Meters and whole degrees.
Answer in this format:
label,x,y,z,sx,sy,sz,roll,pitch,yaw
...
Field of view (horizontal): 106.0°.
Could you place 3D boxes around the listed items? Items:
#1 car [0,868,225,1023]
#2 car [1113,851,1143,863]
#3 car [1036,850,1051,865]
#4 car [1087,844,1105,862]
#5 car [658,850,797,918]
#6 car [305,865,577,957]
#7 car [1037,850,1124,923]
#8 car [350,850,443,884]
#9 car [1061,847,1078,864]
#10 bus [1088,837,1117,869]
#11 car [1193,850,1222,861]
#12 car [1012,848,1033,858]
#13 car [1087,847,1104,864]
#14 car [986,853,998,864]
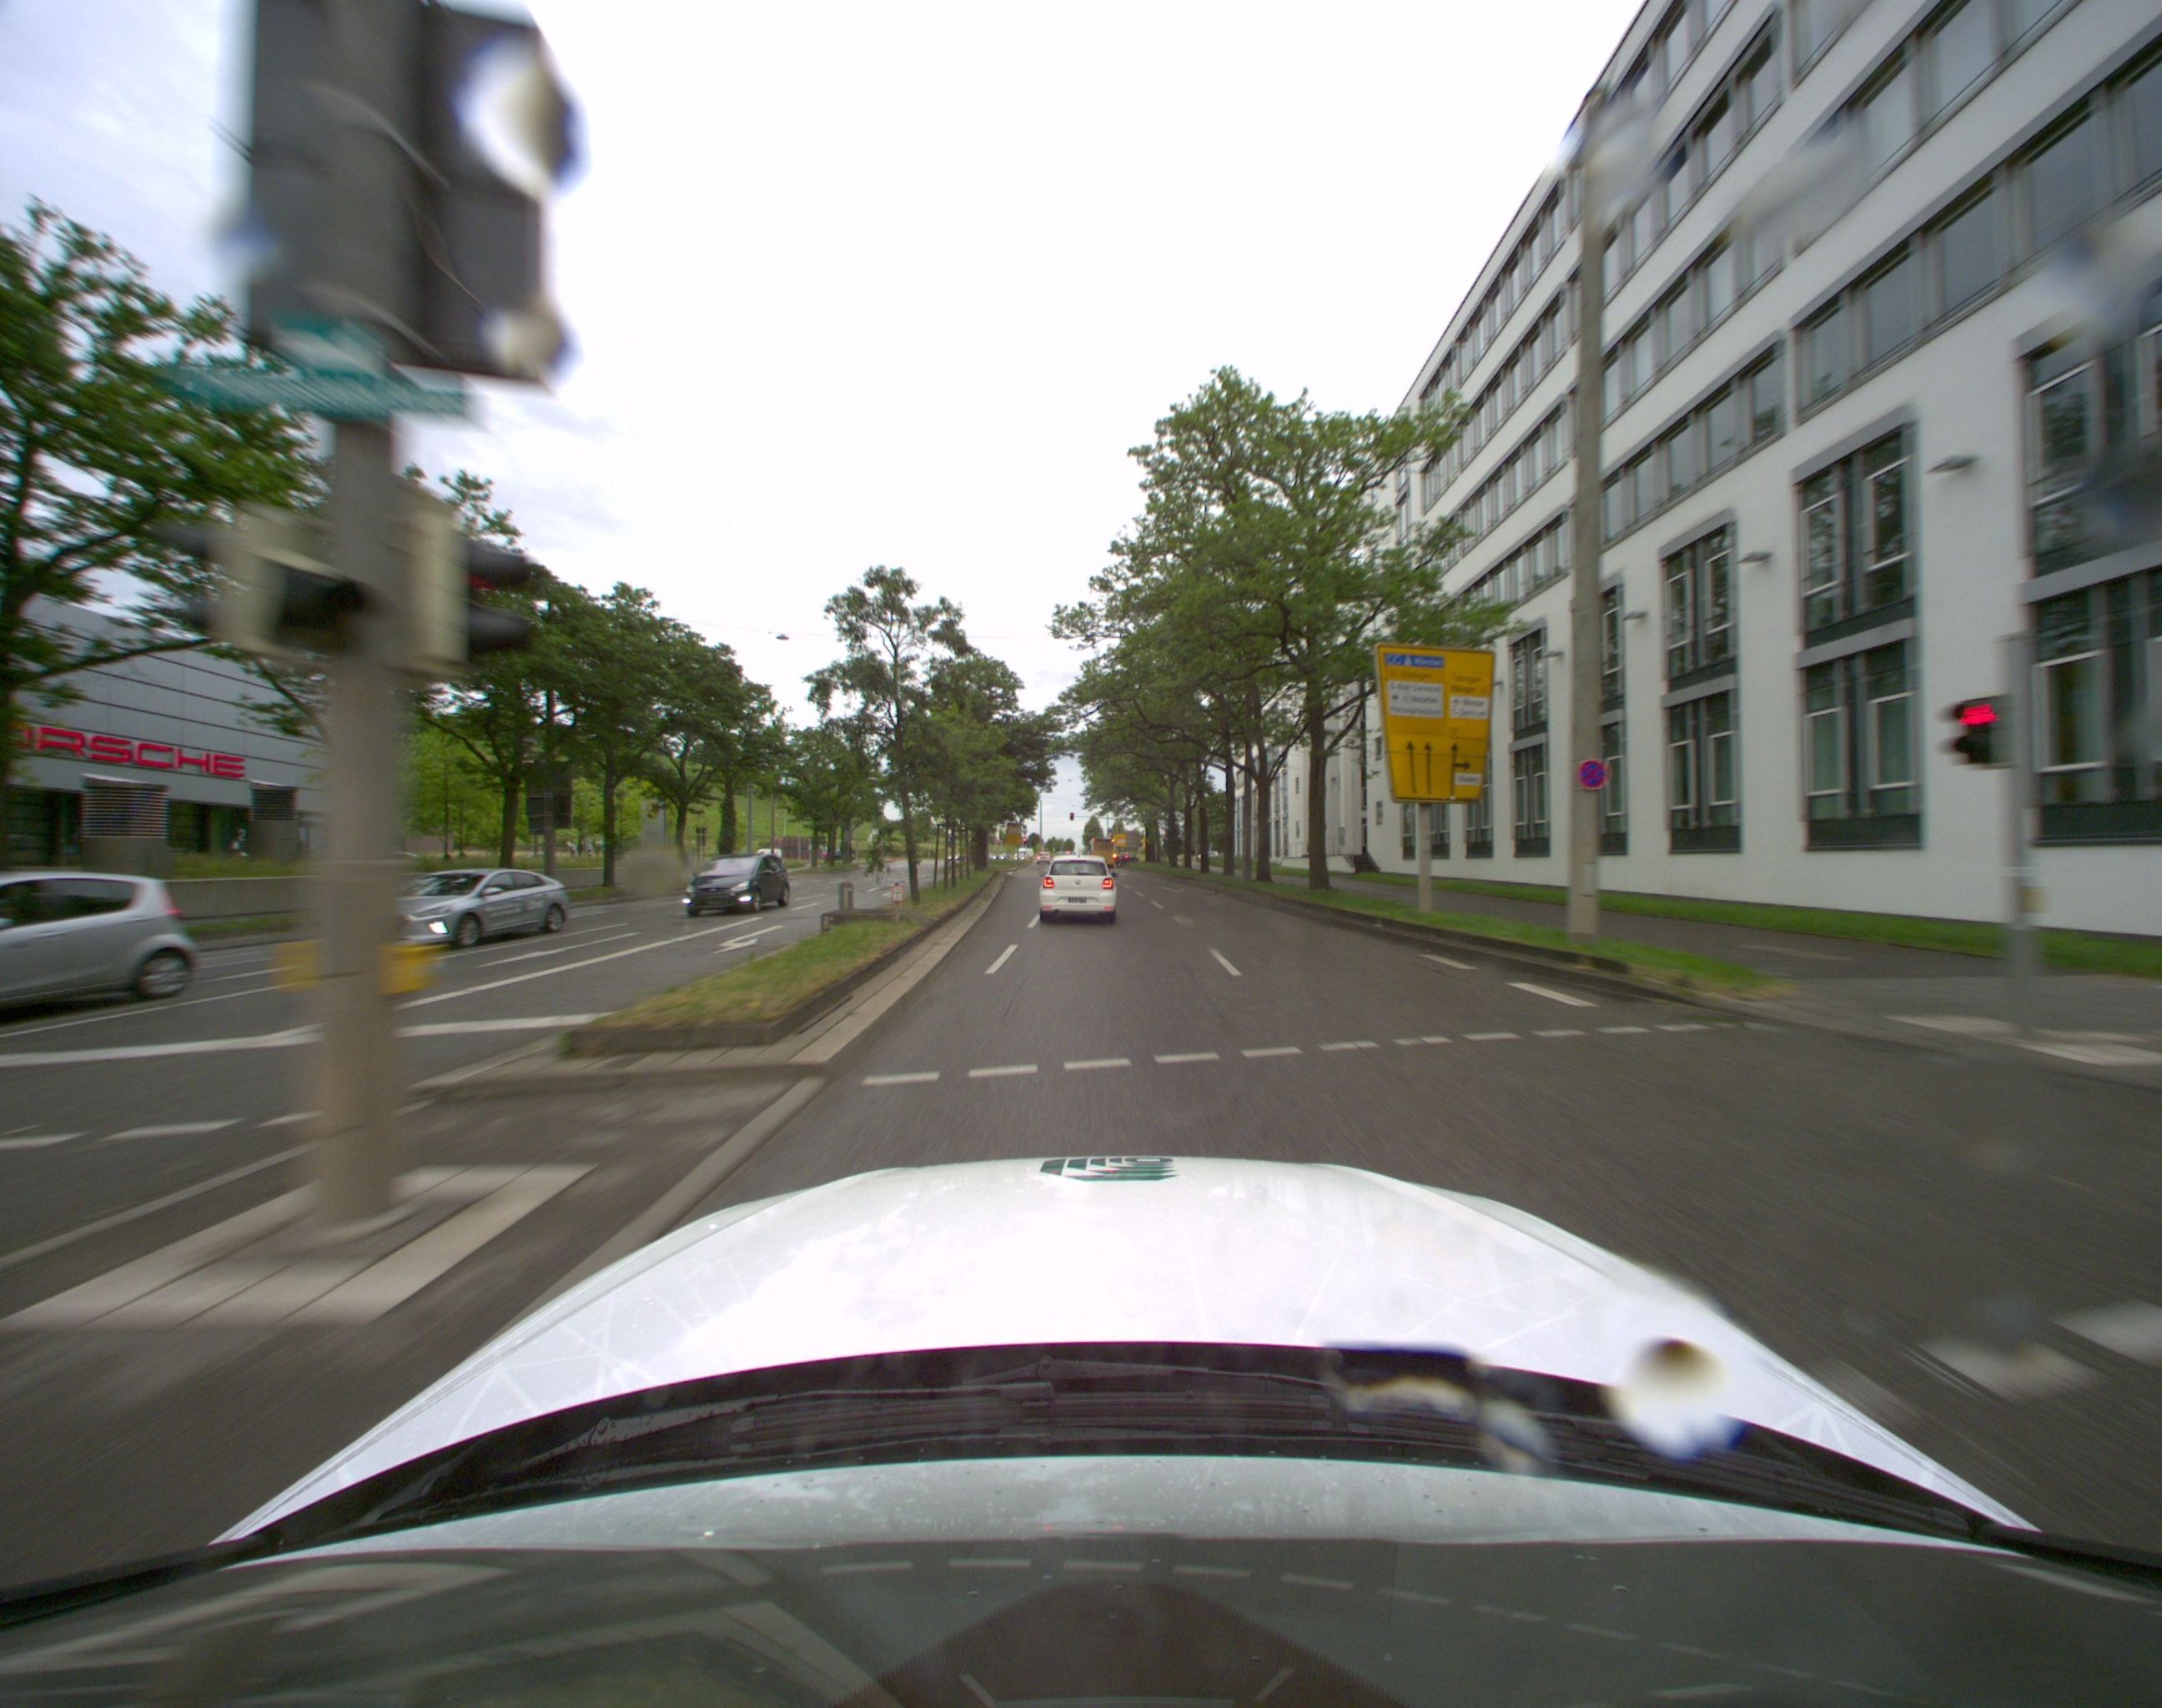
label,x,y,z,sx,sy,sz,roll,pitch,yaw
car,-11.761,0.960,8.484,1.746,1.520,3.812,-2,0,-4
car,5.811,0.365,100.396,1.679,1.515,3.850,-2,-1,44
car,-4.680,0.437,102.459,1.789,1.741,3.997,-1,-1,-2
car,1.732,-0.127,96.220,1.988,2.014,3.998,-1,-1,-1
car,-9.821,0.747,23.142,1.990,1.616,5.112,-2,0,-4
car,-12.169,0.977,15.991,1.810,1.411,4.649,-2,0,-3
car,-0.091,0.663,18.947,1.790,1.502,3.996,1,0,-3
car,-42.906,0.791,51.146,4.001,2.013,1.986,-1,0,-21
car,-1.433,0.230,100.900,1.988,2.014,3.998,-1,-1,-1
bus,2.241,-0.146,88.281,2.820,3.267,9.996,0,0,-1
car,19.054,0.232,122.483,3.954,1.536,2.010,-1,0,20
car,-12.888,-0.264,180.873,1.975,2.013,5.744,-1,0,26
car,1.743,0.212,101.763,1.988,2.014,3.998,-1,-1,-1
car,-17.103,0.917,156.526,1.990,2.014,3.993,0,-1,-4
